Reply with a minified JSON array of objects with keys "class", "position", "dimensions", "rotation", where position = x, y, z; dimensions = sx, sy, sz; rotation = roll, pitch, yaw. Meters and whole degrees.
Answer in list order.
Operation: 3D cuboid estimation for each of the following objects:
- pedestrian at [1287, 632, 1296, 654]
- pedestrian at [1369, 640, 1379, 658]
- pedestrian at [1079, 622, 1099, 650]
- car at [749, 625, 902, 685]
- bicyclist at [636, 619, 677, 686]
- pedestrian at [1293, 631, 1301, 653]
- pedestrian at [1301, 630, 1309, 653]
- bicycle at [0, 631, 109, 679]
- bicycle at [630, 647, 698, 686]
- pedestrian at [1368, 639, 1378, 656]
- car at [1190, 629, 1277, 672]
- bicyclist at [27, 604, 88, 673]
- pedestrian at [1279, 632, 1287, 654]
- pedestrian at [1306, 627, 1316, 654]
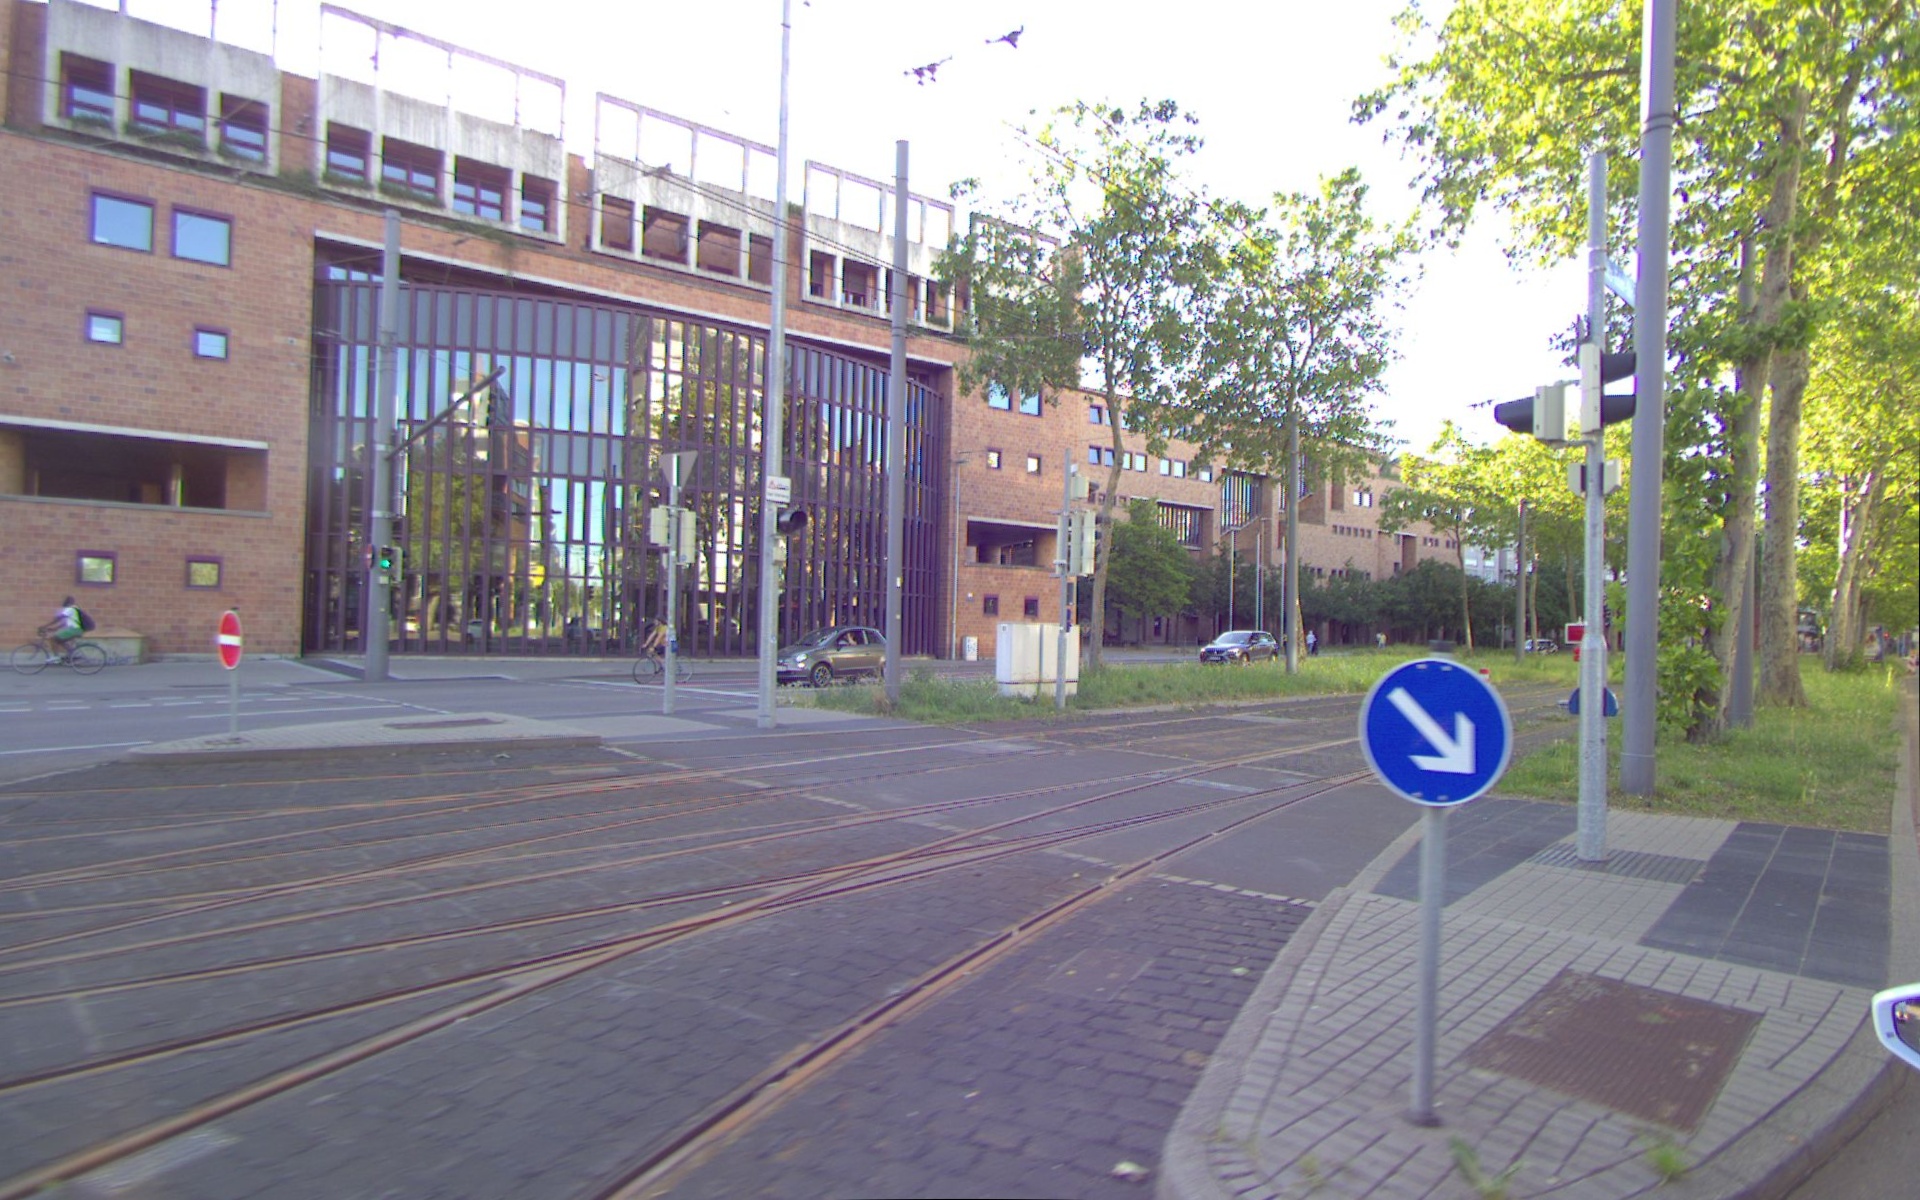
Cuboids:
[{"class":"pedestrian","position":[21.778,2.798,65.947],"dimensions":[0.455,1.435,0.387],"rotation":[2,-1,-39]},{"class":"pedestrian","position":[31.507,3.709,76.417],"dimensions":[0.518,1.308,0.498],"rotation":[2,-1,-41]},{"class":"pedestrian","position":[8.961,2.497,69.784],"dimensions":[0.872,1.906,0.970],"rotation":[2,-1,-36]},{"class":"car","position":[-3.352,1.345,25.471],"dimensions":[1.633,1.346,3.600],"rotation":[1,0,44]},{"class":"bicyclist","position":[-7.663,1.317,25.378],"dimensions":[0.806,1.643,0.618],"rotation":[2,-1,-34]},{"class":"pedestrian","position":[22.532,2.816,67.147],"dimensions":[0.339,1.476,0.315],"rotation":[2,-1,-40]},{"class":"pedestrian","position":[22.969,2.763,66.858],"dimensions":[0.419,1.543,0.362],"rotation":[2,-1,-38]},{"class":"bicycle","position":[-21.757,1.328,24.114],"dimensions":[1.898,1.094,0.611],"rotation":[3,-1,-32]},{"class":"bicycle","position":[-7.498,1.683,25.501],"dimensions":[1.553,0.925,0.531],"rotation":[3,-1,-34]},{"class":"pedestrian","position":[32.130,3.711,78.093],"dimensions":[0.518,1.308,0.498],"rotation":[2,-1,-41]},{"class":"car","position":[11.239,2.028,41.084],"dimensions":[1.801,1.583,4.321],"rotation":[1,0,40]},{"class":"bicyclist","position":[-21.698,0.919,24.159],"dimensions":[0.917,1.611,0.680],"rotation":[2,-1,-31]},{"class":"pedestrian","position":[21.323,2.863,66.301],"dimensions":[0.329,1.438,0.361],"rotation":[2,-1,-38]},{"class":"pedestrian","position":[23.496,2.711,67.187],"dimensions":[0.476,1.727,0.432],"rotation":[2,-1,-39]}]
